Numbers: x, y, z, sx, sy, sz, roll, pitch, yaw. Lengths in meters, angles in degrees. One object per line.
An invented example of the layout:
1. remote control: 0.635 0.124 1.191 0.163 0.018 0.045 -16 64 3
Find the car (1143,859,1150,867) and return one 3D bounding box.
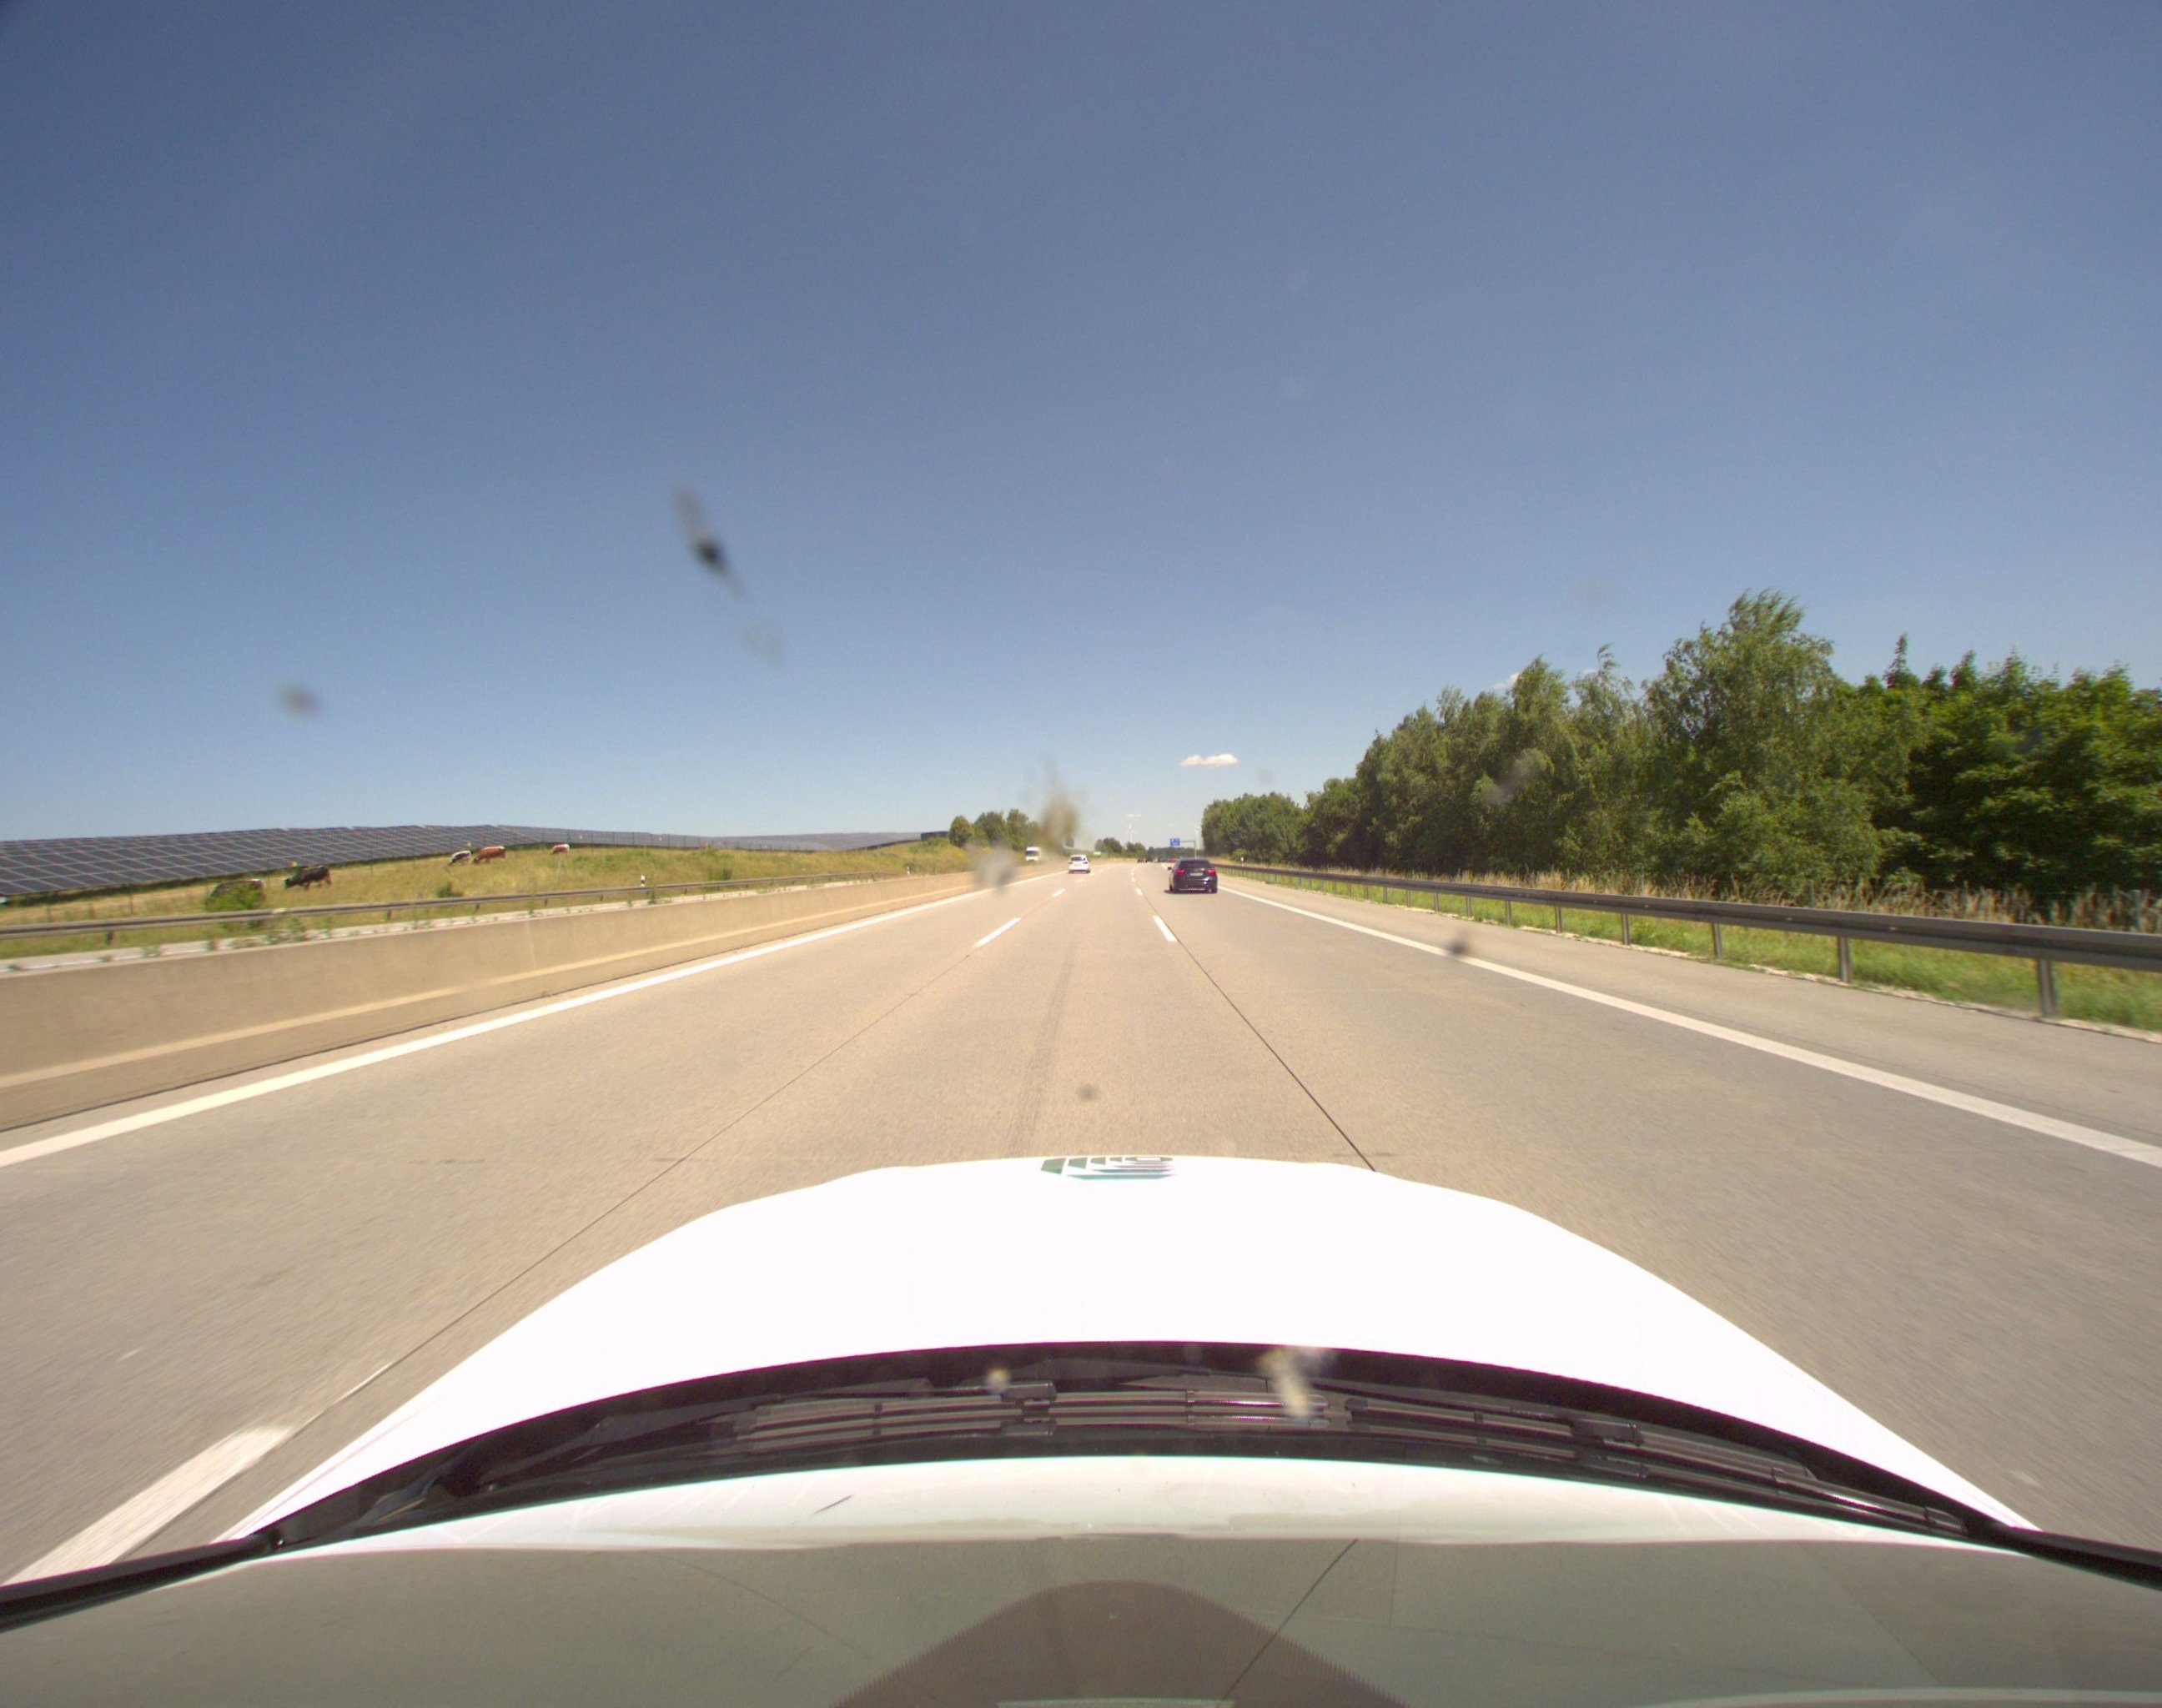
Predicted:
1. car: 17.495 2.347 218.095 1.819 1.937 3.813 -2 -1 4

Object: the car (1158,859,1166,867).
1. car: 20.047 2.149 202.037 1.818 1.907 4.006 -2 -1 6

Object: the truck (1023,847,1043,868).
1. truck: -9.667 0.638 165.531 2.977 4.060 6.878 -2 0 5

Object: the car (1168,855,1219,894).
1. car: 4.639 0.818 34.087 1.901 1.492 4.197 -1 0 5

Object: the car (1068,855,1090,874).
1. car: -0.183 1.022 77.004 1.838 1.708 6.038 -1 -1 2

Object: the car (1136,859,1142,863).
1. car: 17.602 2.238 246.510 1.649 1.196 3.961 1 0 2
